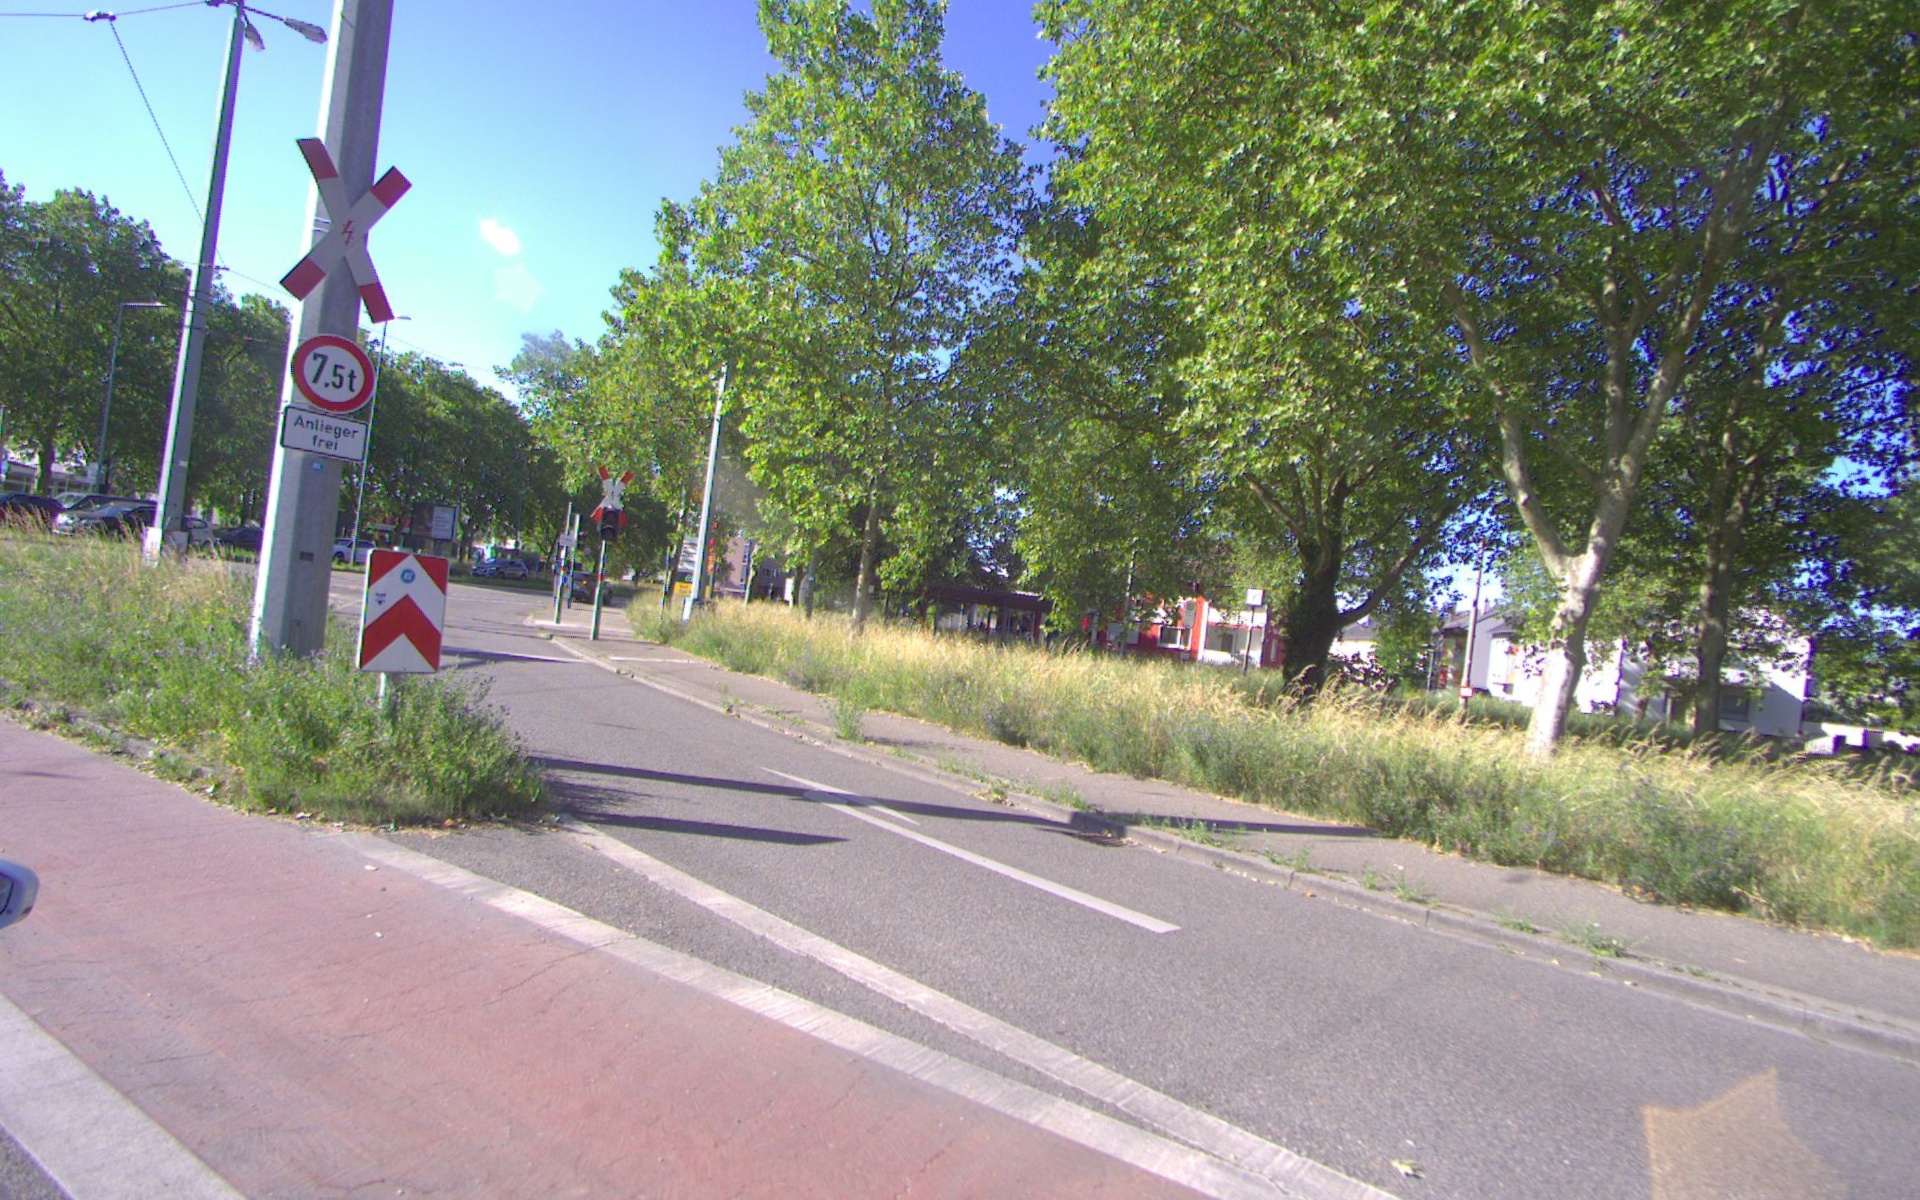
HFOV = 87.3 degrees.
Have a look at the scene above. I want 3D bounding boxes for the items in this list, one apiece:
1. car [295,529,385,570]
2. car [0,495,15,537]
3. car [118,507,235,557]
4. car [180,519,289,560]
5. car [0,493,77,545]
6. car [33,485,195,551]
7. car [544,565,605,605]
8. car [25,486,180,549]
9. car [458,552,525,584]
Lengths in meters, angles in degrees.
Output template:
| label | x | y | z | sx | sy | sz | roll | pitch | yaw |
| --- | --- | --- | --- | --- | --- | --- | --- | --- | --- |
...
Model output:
| label | x | y | z | sx | sy | sz | roll | pitch | yaw |
| --- | --- | --- | --- | --- | --- | --- | --- | --- | --- |
| car | -35.959 | -2.880 | 58.531 | 1.873 | 1.701 | 4.782 | 7 | -3 | 4 |
| car | -38.587 | -3.452 | 38.088 | 1.681 | 1.619 | 3.862 | 7 | -1 | 3 |
| car | -34.257 | -2.921 | 44.137 | 1.680 | 1.619 | 3.863 | 7 | -1 | 7 |
| car | -36.885 | -3.038 | 51.285 | 1.898 | 1.424 | 4.573 | 7 | -1 | 4 |
| car | -34.880 | -3.078 | 36.434 | 1.782 | 1.619 | 4.093 | 7 | -1 | 7 |
| car | -31.239 | -2.963 | 37.355 | 1.885 | 1.731 | 4.497 | 7 | -1 | 3 |
| car | -20.347 | -0.747 | 53.258 | 1.795 | 1.724 | 3.772 | 8 | -2 | -4 |
| car | -41.063 | -3.920 | 48.330 | 2.092 | 2.094 | 5.119 | 7 | -1 | 24 |
| car | -29.093 | -1.957 | 62.609 | 1.962 | 1.637 | 4.002 | 5 | -1 | 4 |
